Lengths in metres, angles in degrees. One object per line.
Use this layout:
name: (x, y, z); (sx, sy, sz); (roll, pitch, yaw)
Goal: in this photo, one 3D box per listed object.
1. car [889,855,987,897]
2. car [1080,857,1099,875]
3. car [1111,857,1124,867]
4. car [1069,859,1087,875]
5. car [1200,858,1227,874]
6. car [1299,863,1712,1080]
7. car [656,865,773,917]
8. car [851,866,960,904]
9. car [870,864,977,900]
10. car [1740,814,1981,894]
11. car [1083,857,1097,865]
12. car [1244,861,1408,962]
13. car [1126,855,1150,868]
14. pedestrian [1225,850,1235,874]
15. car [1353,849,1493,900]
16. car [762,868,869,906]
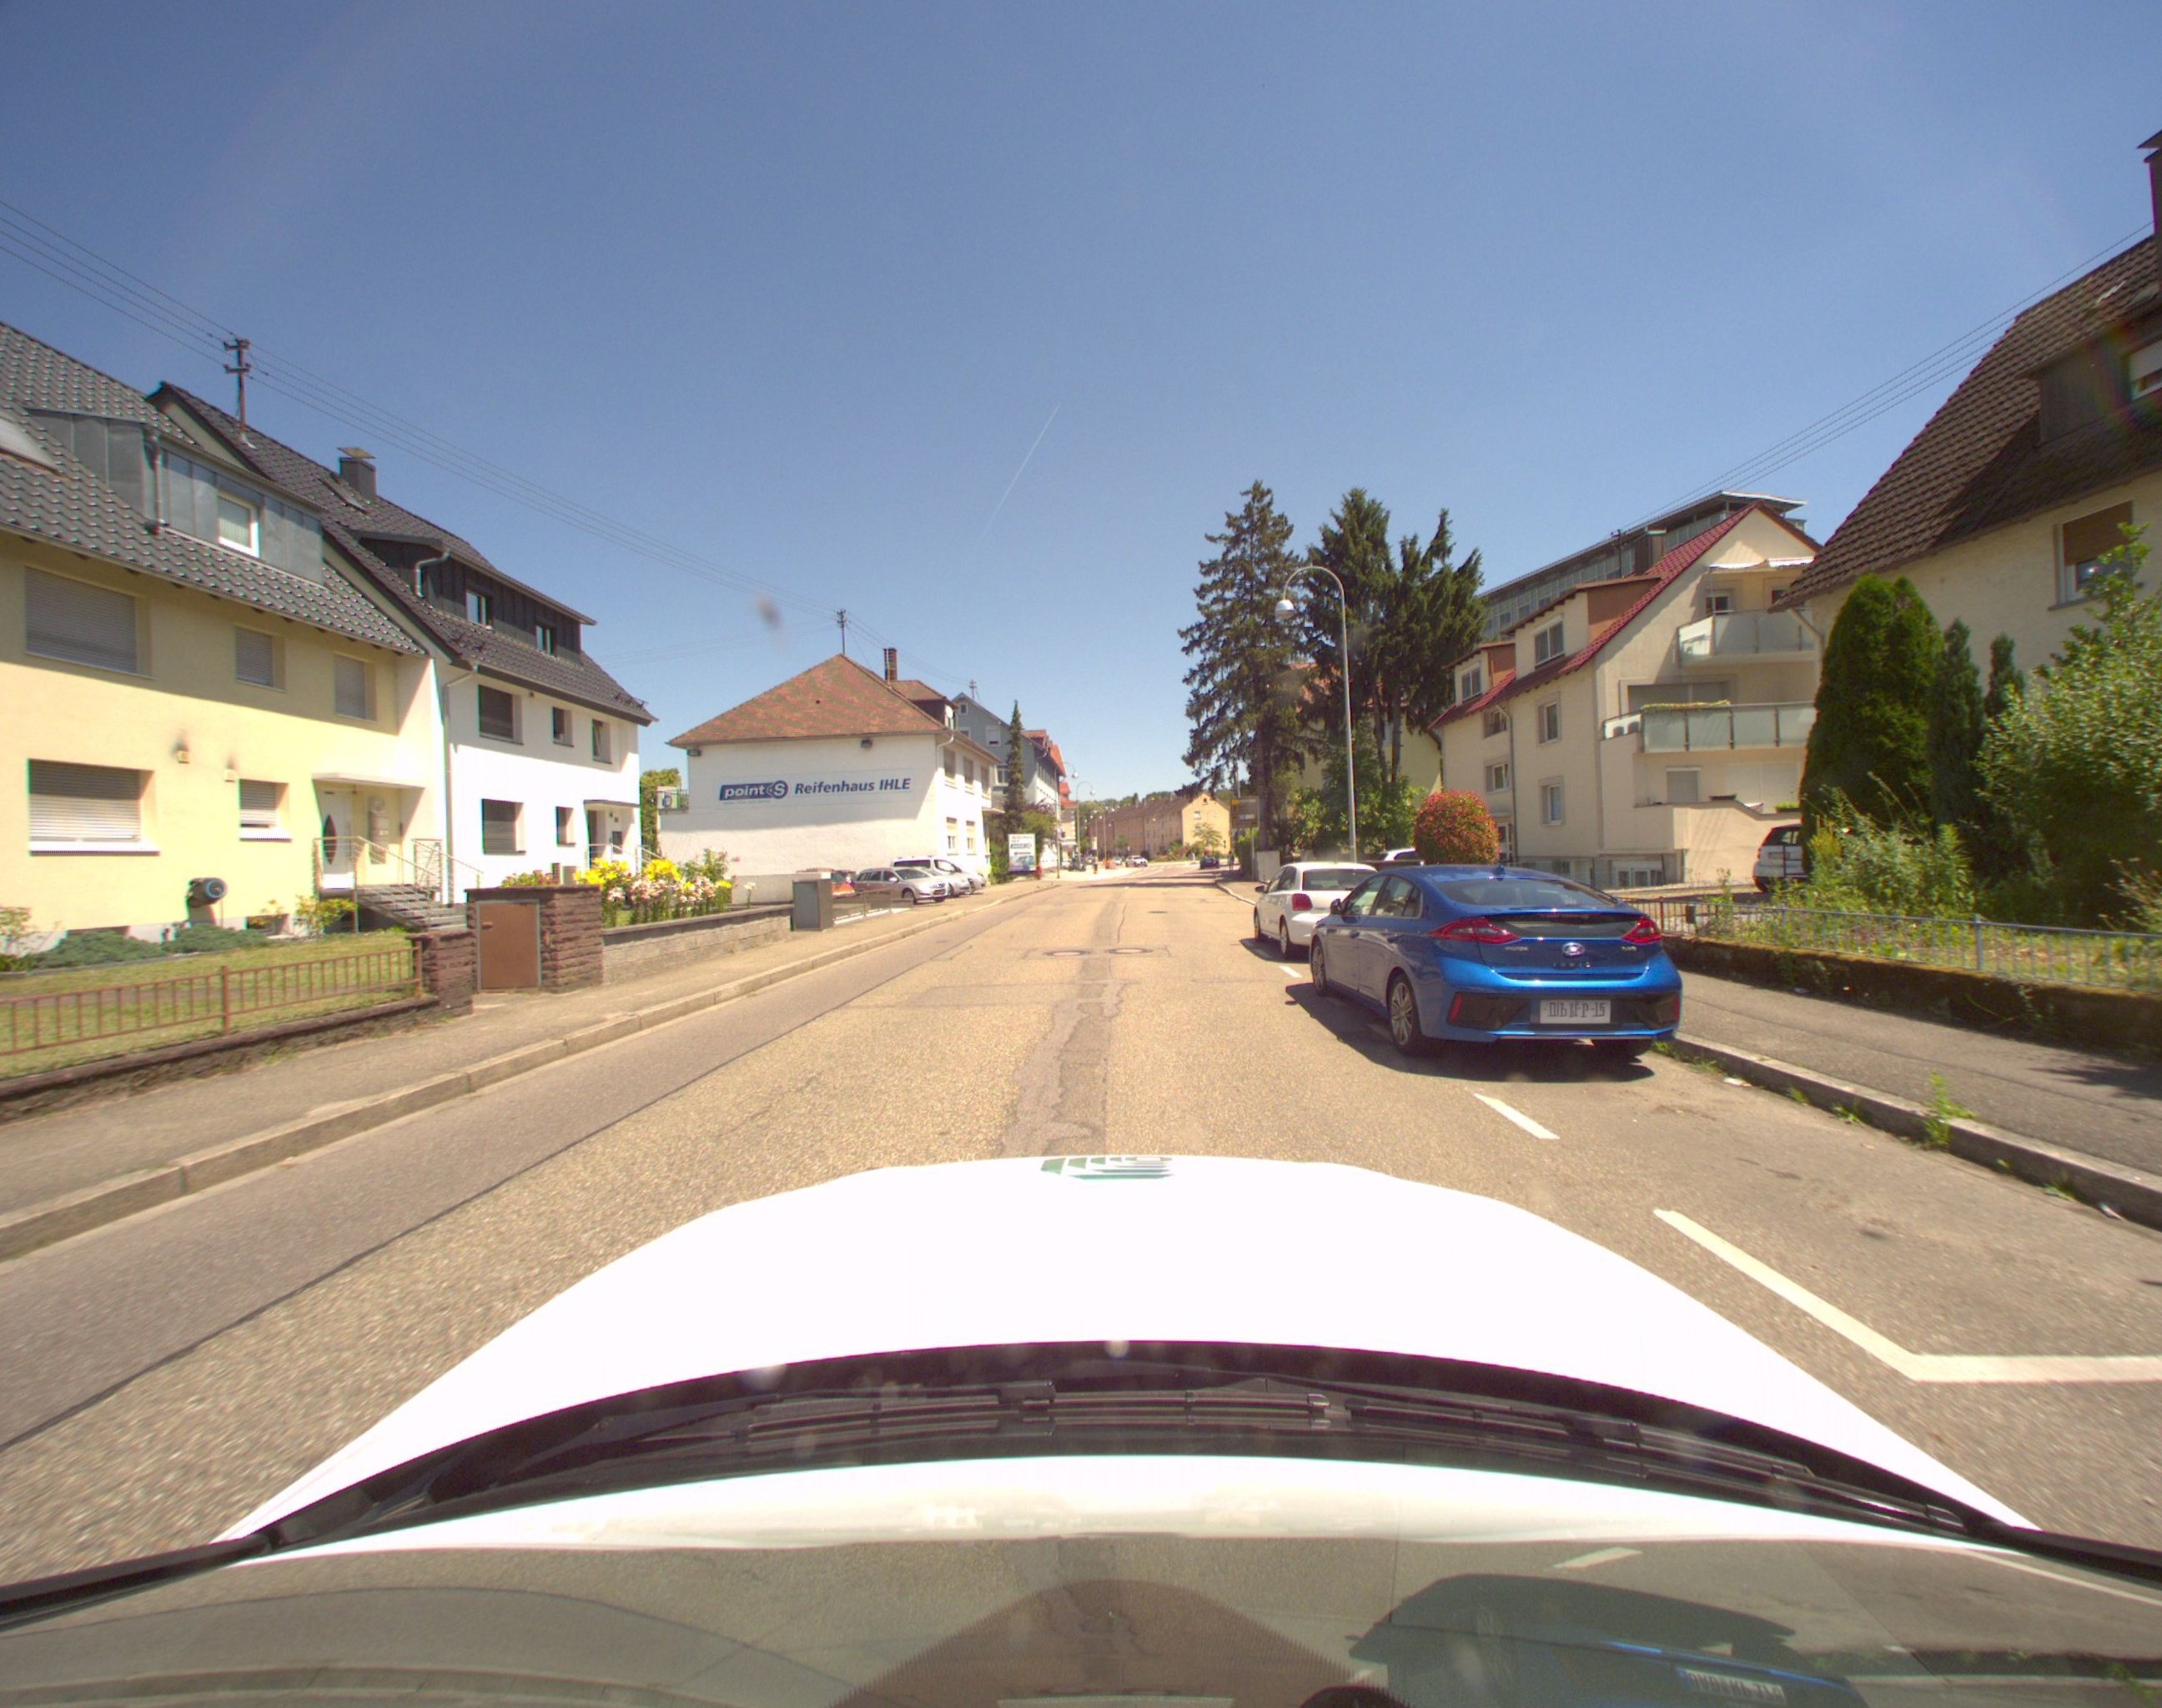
car: (-6.499, 0.995, 37.242); (4.117, 1.774, 1.827); (-2, -1, -2)
car: (0.864, 1.156, 79.631); (1.750, 1.656, 4.002); (-2, -1, 2)
car: (5.972, 1.305, 135.275); (1.790, 1.510, 3.996); (-3, 0, -2)
car: (-0.277, 1.396, 87.513); (1.750, 1.656, 4.002); (-2, -1, 2)
car: (13.328, 1.173, 81.678); (1.778, 1.510, 4.021); (-2, -1, 22)
car: (3.362, 0.795, 7.517); (1.771, 1.405, 4.289); (0, 0, 3)
car: (-11.883, 1.160, 26.307); (3.948, 1.510, 1.811); (-1, 0, 38)
car: (-6.860, 1.181, 31.692); (4.088, 1.344, 1.923); (-2, -1, 36)
car: (-6.631, 1.171, 34.594); (4.113, 1.394, 1.829); (-2, -1, 1)
car: (17.429, 0.007, 18.304); (3.984, 1.510, 1.795); (-3, 0, -8)
car: (1.944, 1.581, 182.262); (1.801, 1.510, 3.972); (-3, 0, -20)
car: (3.890, 0.830, 13.587); (1.718, 1.419, 4.017); (0, 0, 3)
car: (7.717, 1.038, 111.356); (1.606, 1.606, 3.376); (-1, -1, -31)
pedestrian: (11.080, 0.590, 60.556); (0.684, 1.771, 0.693); (-1, -3, 9)
car: (11.495, 0.692, 27.573); (3.971, 1.611, 1.834); (-1, -1, 2)
car: (-10.244, 1.252, 31.296); (4.088, 1.344, 1.846); (-2, -1, 36)
